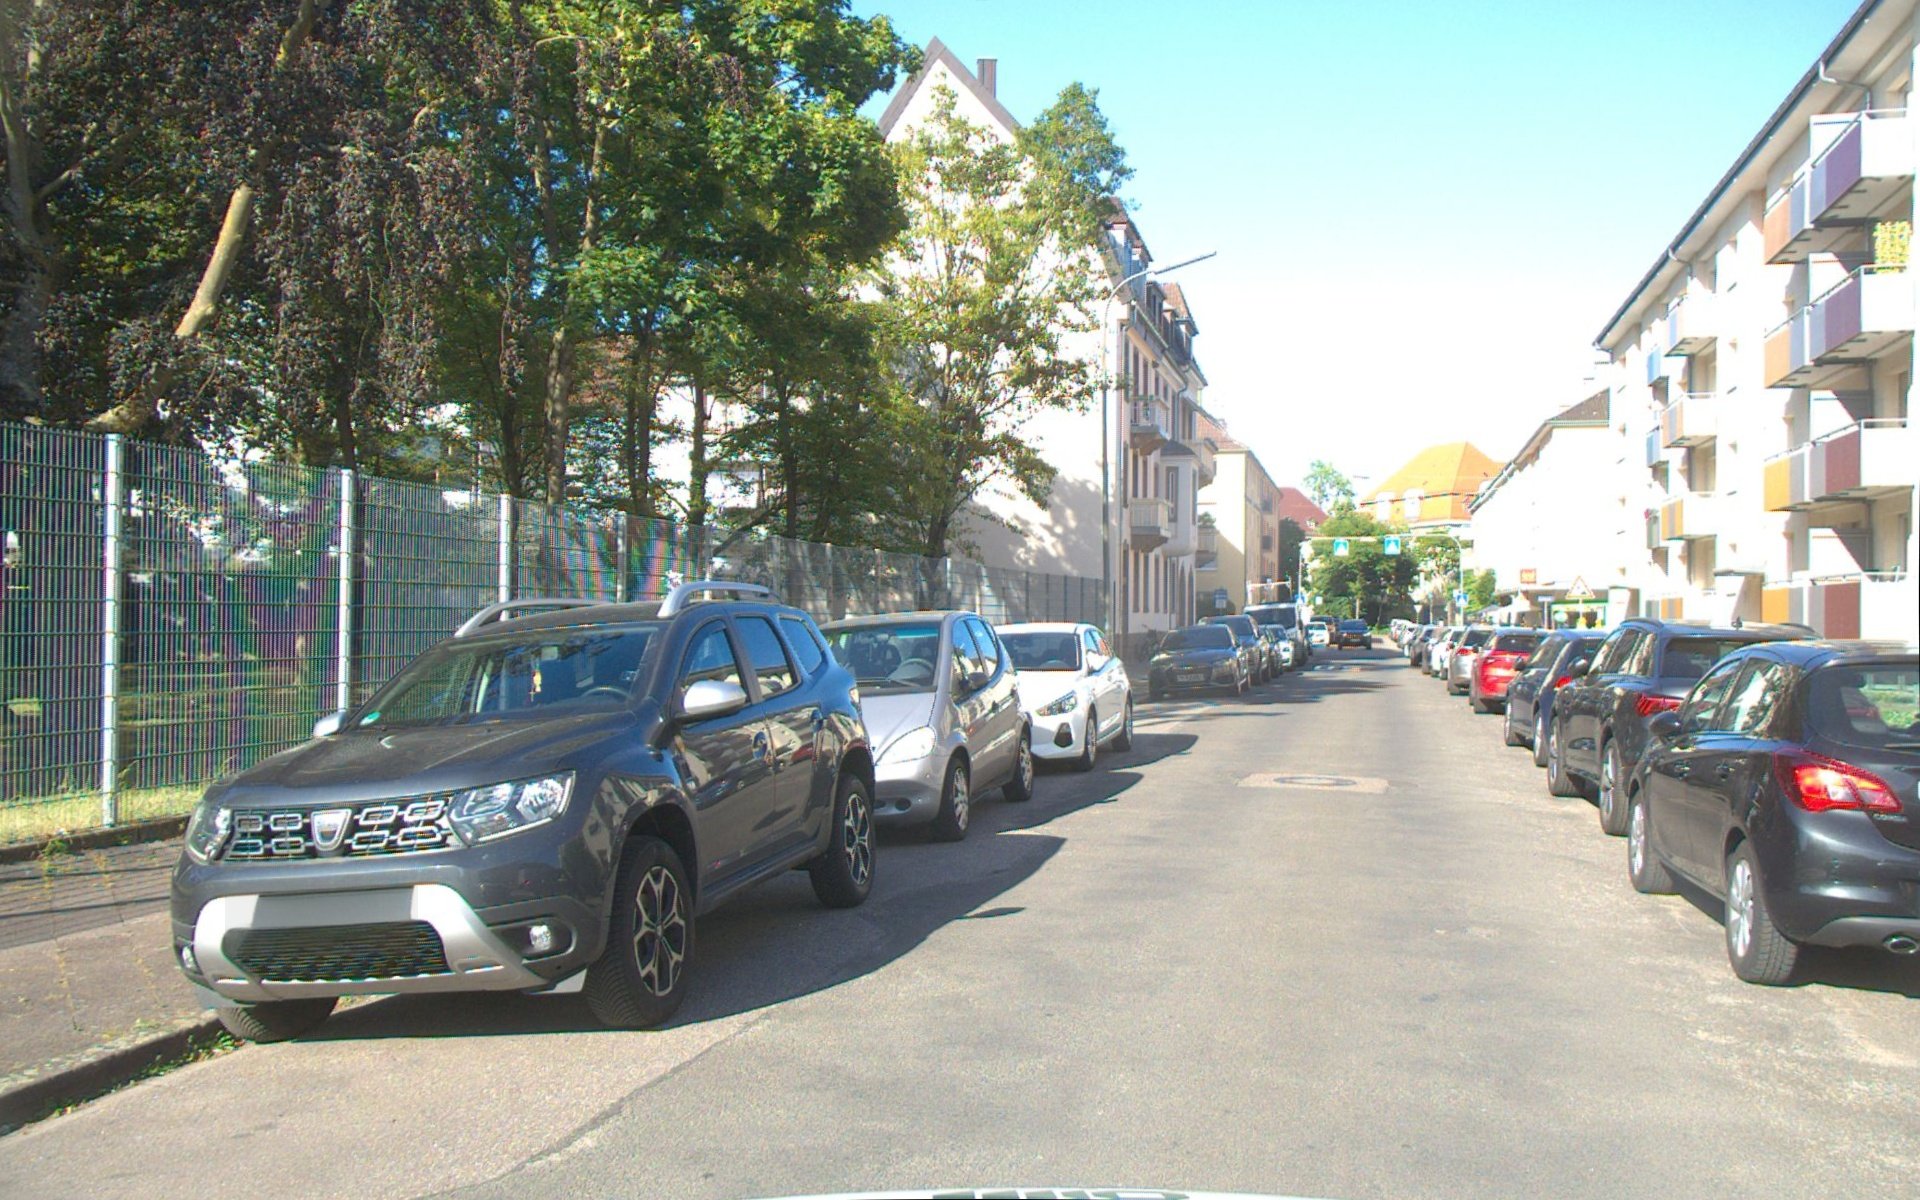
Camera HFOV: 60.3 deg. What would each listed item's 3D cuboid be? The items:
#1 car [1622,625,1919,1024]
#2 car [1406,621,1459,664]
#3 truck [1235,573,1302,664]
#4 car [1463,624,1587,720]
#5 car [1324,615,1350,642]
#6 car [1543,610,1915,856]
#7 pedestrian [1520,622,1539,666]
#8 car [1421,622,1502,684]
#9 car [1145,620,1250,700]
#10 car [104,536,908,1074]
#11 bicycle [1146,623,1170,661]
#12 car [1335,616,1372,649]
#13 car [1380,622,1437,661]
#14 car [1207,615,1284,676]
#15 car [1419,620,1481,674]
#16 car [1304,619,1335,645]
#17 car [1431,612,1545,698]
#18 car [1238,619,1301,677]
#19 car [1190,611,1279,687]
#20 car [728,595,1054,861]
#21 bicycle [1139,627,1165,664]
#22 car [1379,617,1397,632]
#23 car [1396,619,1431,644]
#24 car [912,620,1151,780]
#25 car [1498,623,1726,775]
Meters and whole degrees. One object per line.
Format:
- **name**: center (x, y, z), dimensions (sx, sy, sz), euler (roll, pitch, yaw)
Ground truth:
- **car**: center (4.413, 0.890, 8.101), dimensions (1.570, 1.510, 3.800), euler (0, -1, 12)
- **car**: center (17.177, 1.530, 60.262), dimensions (1.754, 1.497, 4.342), euler (0, -1, 14)
- **truck**: center (11.094, 0.679, 59.263), dimensions (2.211, 3.038, 7.281), euler (0, -1, 11)
- **car**: center (9.499, 1.156, 28.082), dimensions (1.715, 1.469, 4.526), euler (0, -1, 15)
- **car**: center (26.000, 1.947, 113.877), dimensions (1.661, 1.810, 4.101), euler (0, -1, 14)
- **car**: center (5.843, 0.904, 13.116), dimensions (1.715, 1.586, 4.258), euler (1, -1, 11)
- **pedestrian**: center (19.258, 1.490, 55.936), dimensions (0.563, 1.459, 0.472), euler (-1, -1, 16)
- **car**: center (13.987, 1.450, 46.321), dimensions (1.650, 1.487, 3.822), euler (6, 0, 11)
- **car**: center (4.948, 1.187, 33.992), dimensions (1.755, 1.497, 4.505), euler (-2, -1, 12)
- **car**: center (-1.593, 0.717, 7.428), dimensions (1.676, 1.693, 4.168), euler (-3, -2, 12)
- **bicycle**: center (7.191, 1.502, 60.006), dimensions (0.557, 1.301, 2.342), euler (0, 0, 14)
- **car**: center (20.795, 1.697, 87.225), dimensions (1.783, 1.662, 4.259), euler (0, 0, 15)
- **car**: center (19.335, 1.786, 71.460), dimensions (1.814, 1.550, 4.780), euler (1, -1, 9)
- **car**: center (8.013, 1.248, 46.183), dimensions (1.754, 1.590, 4.462), euler (1, -1, 14)
- **car**: center (15.011, 1.422, 50.776), dimensions (1.652, 1.492, 3.585), euler (3, 0, 15)
- **car**: center (22.512, 1.991, 103.448), dimensions (1.753, 1.506, 4.102), euler (-1, 0, 14)
- **car**: center (11.133, 1.116, 35.145), dimensions (1.858, 1.650, 4.606), euler (1, -1, 12)
- **car**: center (9.811, 1.476, 52.228), dimensions (1.754, 1.567, 4.645), euler (-5, -1, 12)
- **car**: center (6.748, 1.153, 40.260), dimensions (1.838, 1.693, 4.935), euler (-2, -1, 12)
- **car**: center (-0.371, 0.877, 12.634), dimensions (1.530, 1.672, 3.618), euler (-4, -2, 12)
- **bicycle**: center (6.641, 1.561, 57.125), dimensions (0.616, 1.225, 2.342), euler (0, 0, 14)
- **car**: center (41.929, 2.372, 162.090), dimensions (1.603, 1.466, 3.421), euler (0, -1, 13)
- **car**: center (26.761, 1.840, 97.617), dimensions (1.806, 1.466, 3.421), euler (0, -1, 12)
- **car**: center (0.886, 0.978, 17.554), dimensions (1.756, 1.470, 4.123), euler (-2, -1, 13)
- **car**: center (7.283, 1.030, 18.848), dimensions (1.715, 1.507, 4.083), euler (1, -1, 11)
